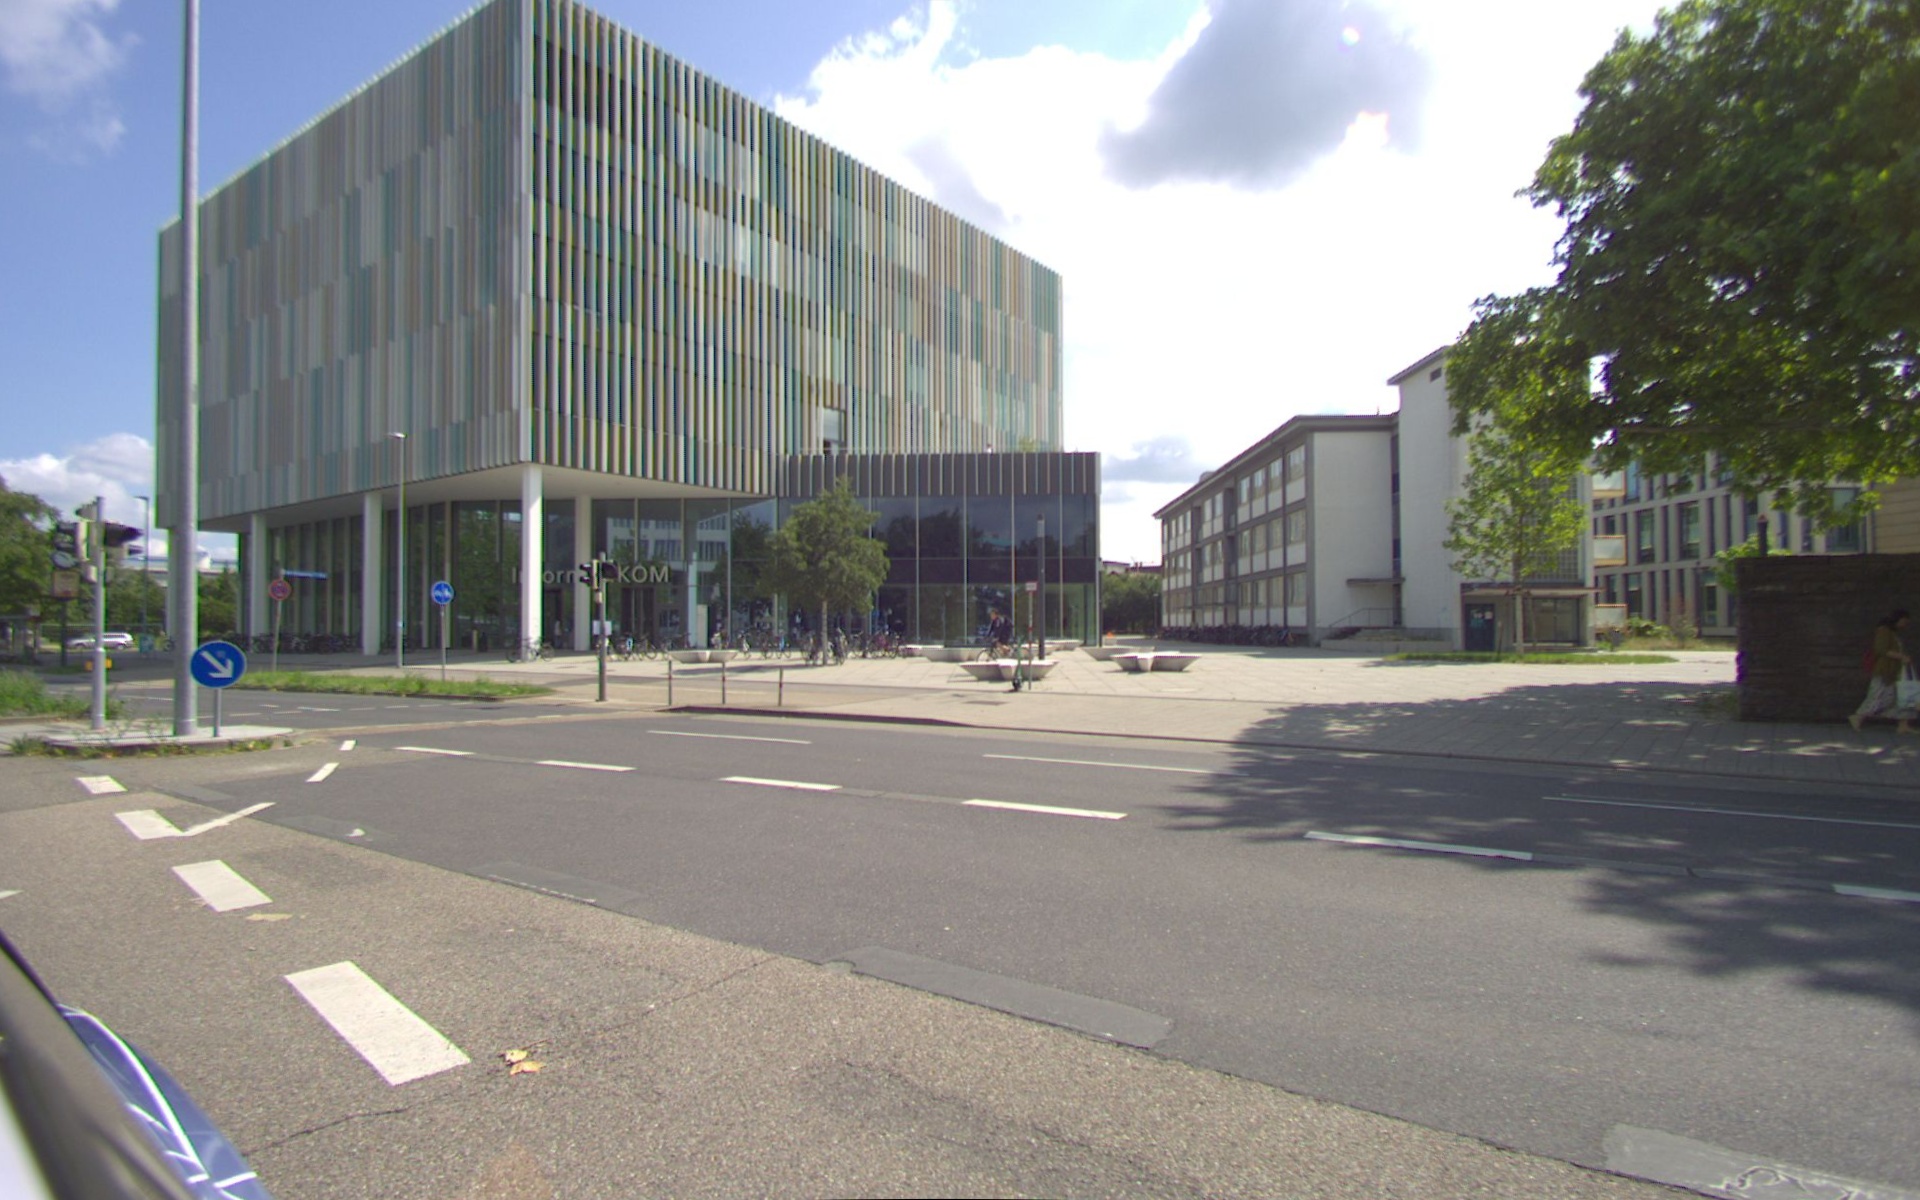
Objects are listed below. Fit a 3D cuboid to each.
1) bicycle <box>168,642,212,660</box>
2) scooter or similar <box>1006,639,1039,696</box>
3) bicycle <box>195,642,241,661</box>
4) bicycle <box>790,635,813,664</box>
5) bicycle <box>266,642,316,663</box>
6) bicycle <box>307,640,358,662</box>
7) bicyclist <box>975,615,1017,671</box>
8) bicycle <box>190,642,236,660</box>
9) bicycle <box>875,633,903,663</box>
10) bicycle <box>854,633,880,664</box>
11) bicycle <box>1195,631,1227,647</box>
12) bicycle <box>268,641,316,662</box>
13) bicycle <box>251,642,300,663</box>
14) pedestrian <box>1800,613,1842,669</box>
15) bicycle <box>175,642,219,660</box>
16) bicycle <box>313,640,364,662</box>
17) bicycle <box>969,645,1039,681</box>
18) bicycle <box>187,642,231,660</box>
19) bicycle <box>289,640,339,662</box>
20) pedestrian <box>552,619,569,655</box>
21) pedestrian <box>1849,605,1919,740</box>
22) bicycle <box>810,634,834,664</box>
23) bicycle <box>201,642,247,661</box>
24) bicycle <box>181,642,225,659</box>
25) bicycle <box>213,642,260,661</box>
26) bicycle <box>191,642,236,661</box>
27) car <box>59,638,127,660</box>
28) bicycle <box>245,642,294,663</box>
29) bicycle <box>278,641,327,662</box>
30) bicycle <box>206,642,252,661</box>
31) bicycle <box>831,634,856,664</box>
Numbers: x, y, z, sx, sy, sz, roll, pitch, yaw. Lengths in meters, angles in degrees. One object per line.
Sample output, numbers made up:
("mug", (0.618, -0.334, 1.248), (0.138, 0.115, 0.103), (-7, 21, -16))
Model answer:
("bicycle", (-50.932, 3.383, 66.957), (0.720, 1.105, 2.194), (-2, -2, 31))
("scooter or similar", (1.355, 1.433, 21.782), (0.498, 1.166, 1.497), (-1, -2, 12))
("bicycle", (-45.898, 3.168, 62.662), (0.720, 1.098, 2.194), (-2, -2, 31))
("bicycle", (-6.563, 2.031, 41.747), (0.734, 1.146, 2.324), (0, -2, -14))
("bicycle", (-36.886, 2.889, 55.852), (0.720, 1.105, 2.194), (-2, -2, 31))
("bicycle", (-33.692, 2.728, 54.362), (0.753, 1.105, 2.194), (-2, -2, 31))
("bicyclist", (0.966, 1.153, 27.113), (0.930, 1.475, 0.634), (0, -2, -19))
("bicycle", (-46.560, 3.164, 63.079), (0.720, 1.105, 2.194), (-2, -2, 31))
("bicycle", (-2.956, 1.954, 41.852), (0.734, 1.199, 2.324), (0, -2, -14))
("bicycle", (-3.848, 1.971, 41.621), (0.734, 1.199, 2.324), (0, -2, -14))
("bicycle", (16.275, 2.531, 65.653), (1.888, 1.022, 0.695), (-1, -2, 7))
("bicycle", (-37.469, 2.869, 56.792), (0.720, 1.105, 2.194), (-2, -2, 31))
("bicycle", (-38.561, 2.936, 57.079), (0.720, 1.105, 2.194), (-2, -2, 31))
("pedestrian", (31.538, 1.492, 37.081), (0.856, 2.029, 0.687), (0, -2, -4))
("bicycle", (-50.081, 3.322, 66.435), (0.720, 1.105, 2.194), (-2, -2, 31))
("bicycle", (-32.863, 2.698, 53.546), (0.720, 1.105, 2.194), (-2, -2, 31))
("bicycle", (1.176, 1.674, 27.087), (1.745, 0.899, 0.640), (0, -2, -19))
("bicycle", (-48.257, 3.249, 65.043), (0.720, 1.105, 2.194), (-2, -2, 31))
("bicycle", (-34.762, 2.751, 54.476), (0.720, 1.105, 2.194), (-2, -2, 31))
("pedestrian", (-21.145, 1.938, 53.603), (0.754, 1.885, 0.650), (0, -2, -13))
("pedestrian", (11.822, 0.903, 12.819), (0.725, 1.664, 0.555), (-2, -2, 34))
("bicycle", (-5.693, 2.011, 41.676), (0.734, 1.199, 2.324), (0, -2, -14))
("bicycle", (-45.246, 3.161, 62.232), (0.720, 1.105, 2.194), (-2, -2, 31))
("bicycle", (-49.337, 3.285, 65.947), (0.720, 1.105, 2.194), (-2, -2, 31))
("bicycle", (-43.566, 3.105, 60.940), (0.720, 1.105, 2.194), (-2, -2, 31))
("bicycle", (-47.379, 3.260, 64.239), (0.720, 1.105, 2.194), (-2, -2, 31))
("car", (-70.573, 4.002, 82.399), (1.644, 1.699, 3.948), (-2, -2, 38))
("bicycle", (-39.288, 2.973, 57.579), (0.720, 1.105, 2.194), (-2, -2, 31))
("bicycle", (-35.967, 2.816, 55.392), (0.733, 1.105, 2.194), (-2, -2, 31))
("bicycle", (-44.510, 3.132, 61.628), (0.720, 1.105, 2.194), (-2, -2, 31))
("bicycle", (-4.810, 1.993, 41.768), (0.734, 1.199, 2.324), (0, -2, -14))
